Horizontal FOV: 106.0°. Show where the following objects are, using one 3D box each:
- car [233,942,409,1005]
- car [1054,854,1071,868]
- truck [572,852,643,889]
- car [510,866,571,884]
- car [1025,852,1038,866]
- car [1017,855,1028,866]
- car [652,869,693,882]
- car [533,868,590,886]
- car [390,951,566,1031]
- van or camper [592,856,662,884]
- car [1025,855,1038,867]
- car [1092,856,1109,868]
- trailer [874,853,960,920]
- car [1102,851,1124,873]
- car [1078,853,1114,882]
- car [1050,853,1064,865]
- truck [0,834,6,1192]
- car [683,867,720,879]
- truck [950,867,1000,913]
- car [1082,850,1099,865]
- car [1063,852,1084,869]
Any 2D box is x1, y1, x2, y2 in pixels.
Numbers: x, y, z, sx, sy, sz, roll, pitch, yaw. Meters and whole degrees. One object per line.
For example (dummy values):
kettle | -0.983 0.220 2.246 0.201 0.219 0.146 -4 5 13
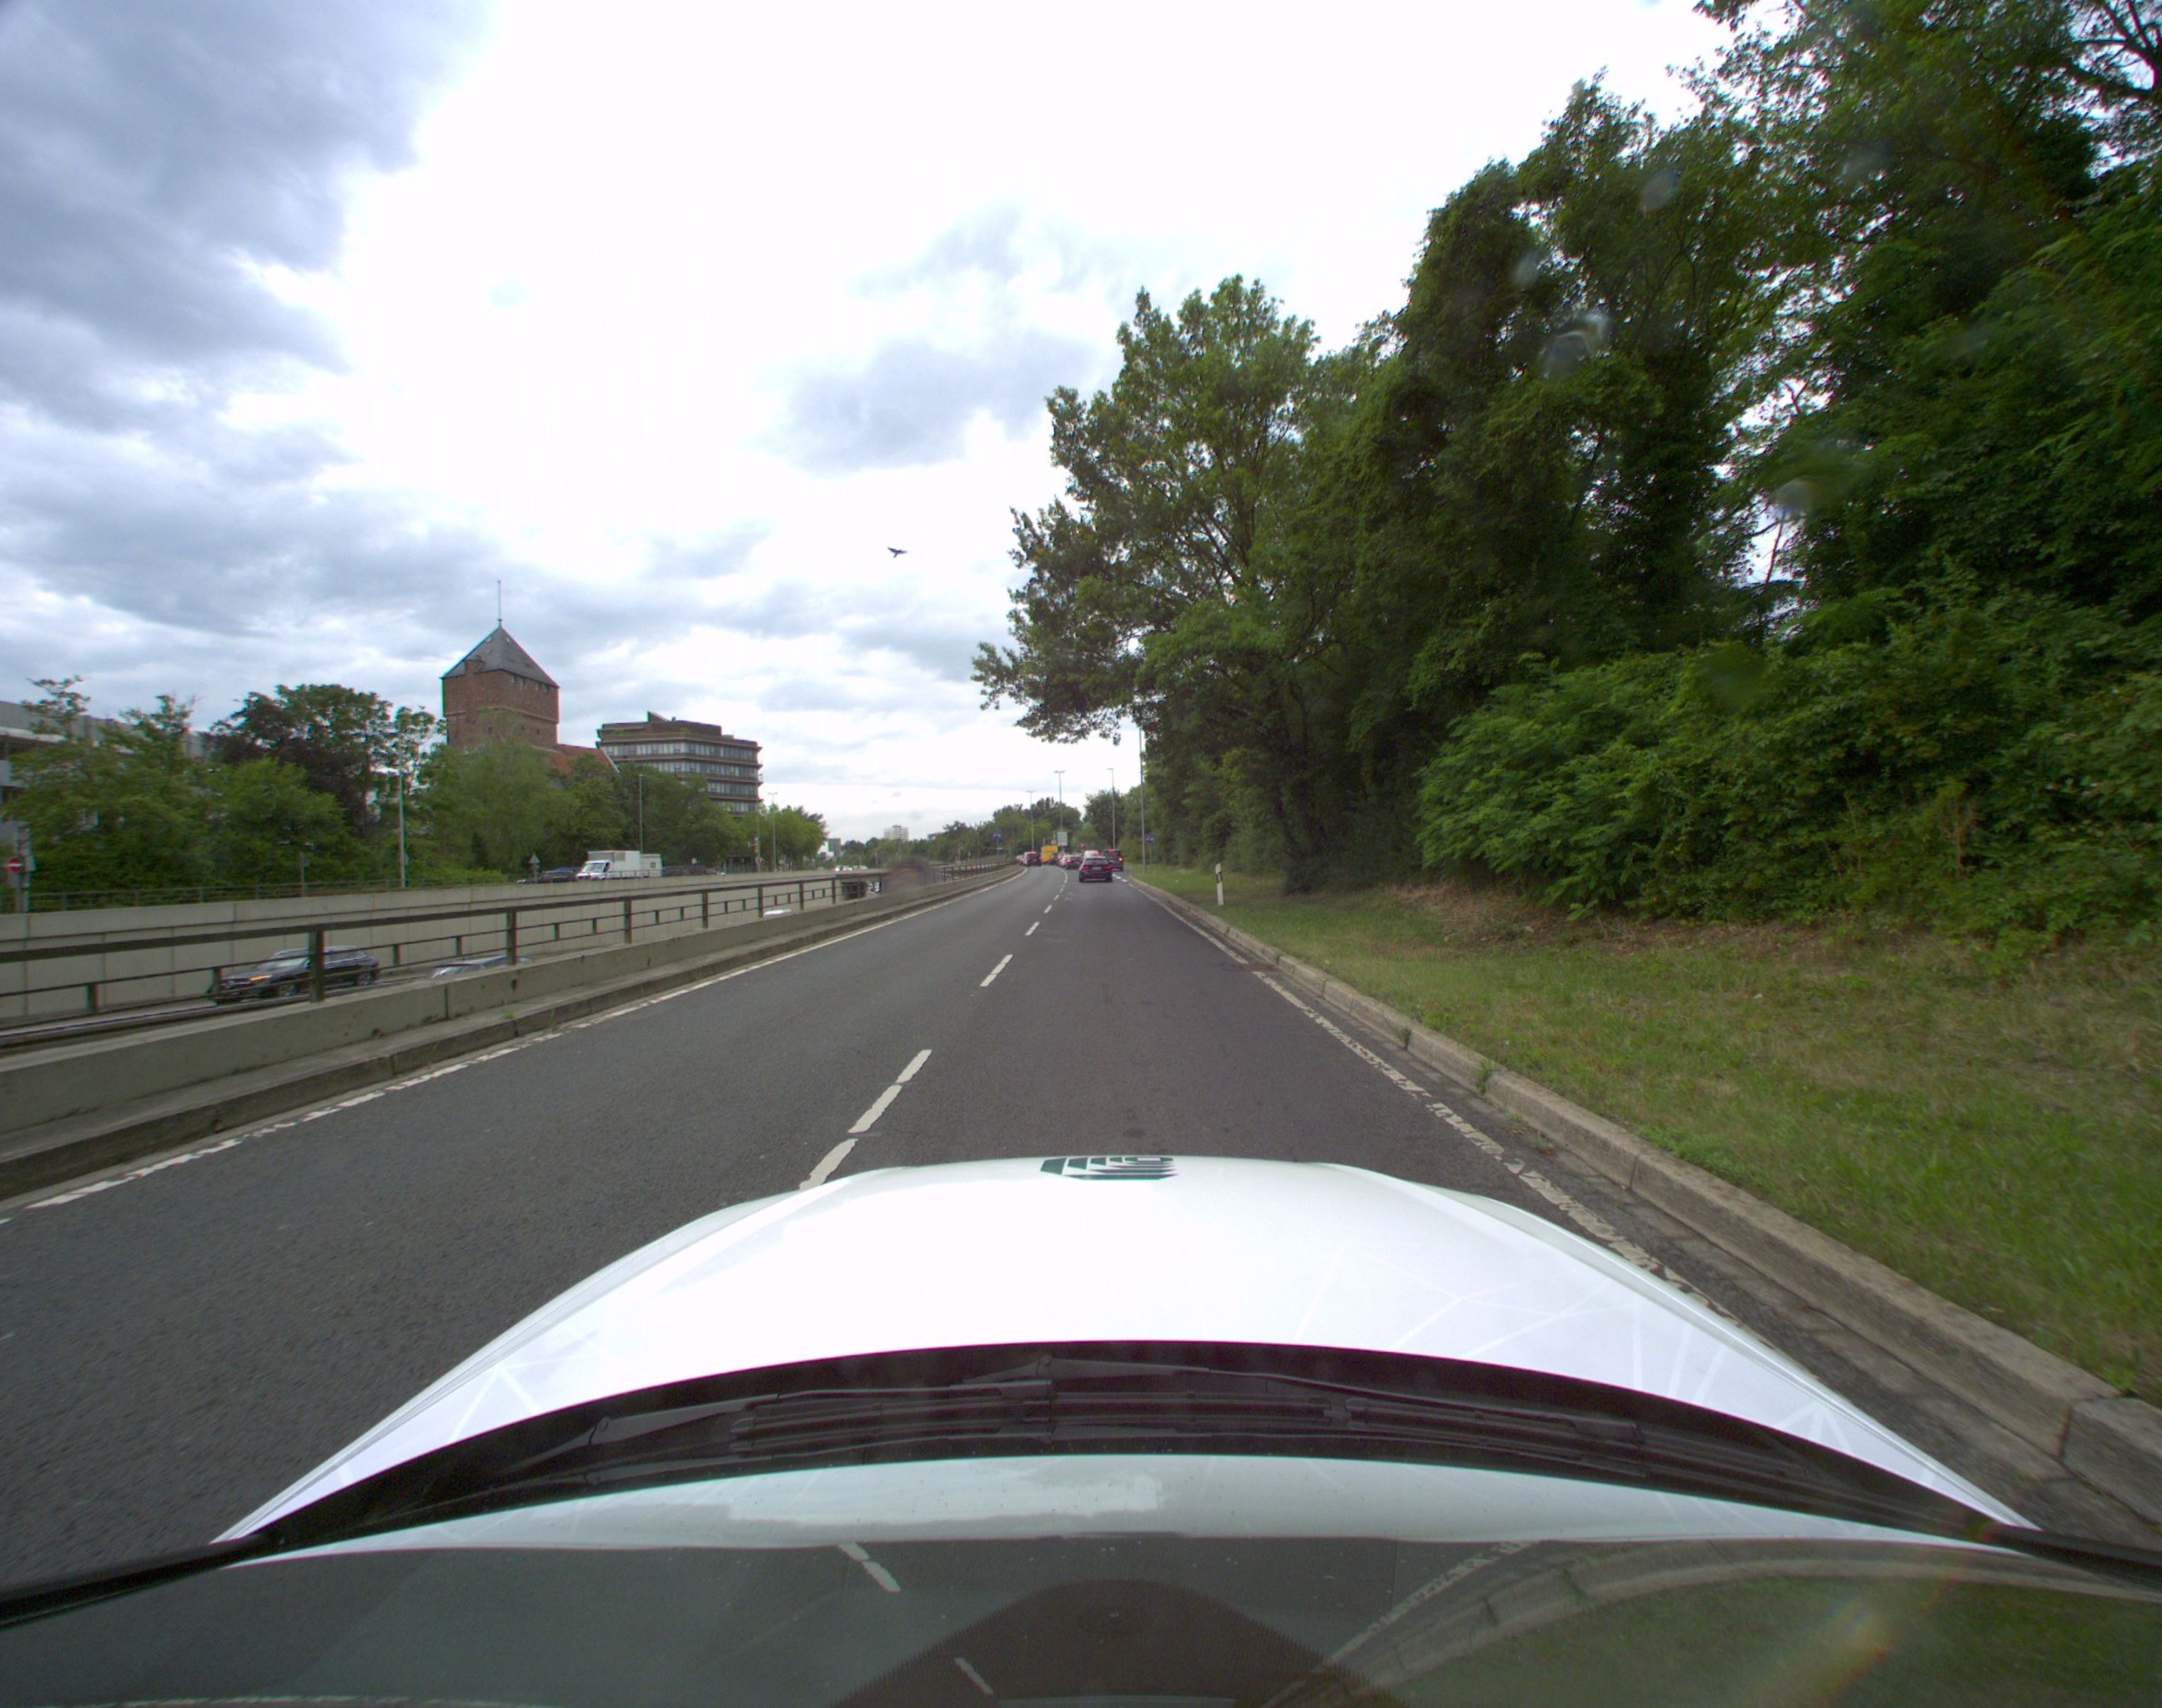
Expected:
car | -26.103 4.059 28.240 1.744 1.426 4.678 -3 0 -2
car | -2.211 0.877 96.165 1.881 1.592 4.423 -1 -1 -4
truck | -40.405 1.373 69.754 2.010 2.987 7.095 -1 -1 0
car | -45.865 1.734 69.201 1.608 1.441 4.025 -1 -1 40
car | -7.340 0.730 121.424 1.881 1.987 4.422 -1 -1 -4
car | -9.259 0.996 129.255 1.621 1.701 4.287 -1 -1 -6
car | -47.503 2.449 94.756 1.608 1.441 4.025 -1 -1 40
car | -46.357 2.040 72.717 1.608 1.441 4.025 -1 -1 40
car | -15.971 3.584 21.842 1.648 1.529 3.900 -1 -1 3
van or camper | -46.919 1.613 84.286 5.958 2.810 2.120 0 -1 -44
car | -6.935 0.965 113.450 1.621 1.701 4.287 -1 -1 -6
car | 2.394 1.002 98.955 1.879 1.356 3.997 -1 -1 -1
trailer | -11.446 2.158 59.059 2.842 4.037 16.001 -3 -1 0
car | 2.848 0.712 72.649 1.892 1.884 4.417 -1 -1 2
car | 0.797 0.725 45.631 1.744 1.426 4.459 -2 0 -2
car | -3.522 0.794 118.368 1.881 1.700 4.423 -1 -1 -4
truck | -11.173 1.023 4.262 2.695 4.037 6.205 -3 -1 2
car | -47.845 2.444 102.733 1.608 1.441 4.025 -1 -1 40
truck | -10.584 3.452 82.933 2.842 4.037 15.574 -3 -1 0
car | 1.264 0.478 107.914 1.881 1.880 4.422 -1 -1 -4
car | -0.784 0.647 81.850 1.881 1.592 4.423 -1 -1 -4
